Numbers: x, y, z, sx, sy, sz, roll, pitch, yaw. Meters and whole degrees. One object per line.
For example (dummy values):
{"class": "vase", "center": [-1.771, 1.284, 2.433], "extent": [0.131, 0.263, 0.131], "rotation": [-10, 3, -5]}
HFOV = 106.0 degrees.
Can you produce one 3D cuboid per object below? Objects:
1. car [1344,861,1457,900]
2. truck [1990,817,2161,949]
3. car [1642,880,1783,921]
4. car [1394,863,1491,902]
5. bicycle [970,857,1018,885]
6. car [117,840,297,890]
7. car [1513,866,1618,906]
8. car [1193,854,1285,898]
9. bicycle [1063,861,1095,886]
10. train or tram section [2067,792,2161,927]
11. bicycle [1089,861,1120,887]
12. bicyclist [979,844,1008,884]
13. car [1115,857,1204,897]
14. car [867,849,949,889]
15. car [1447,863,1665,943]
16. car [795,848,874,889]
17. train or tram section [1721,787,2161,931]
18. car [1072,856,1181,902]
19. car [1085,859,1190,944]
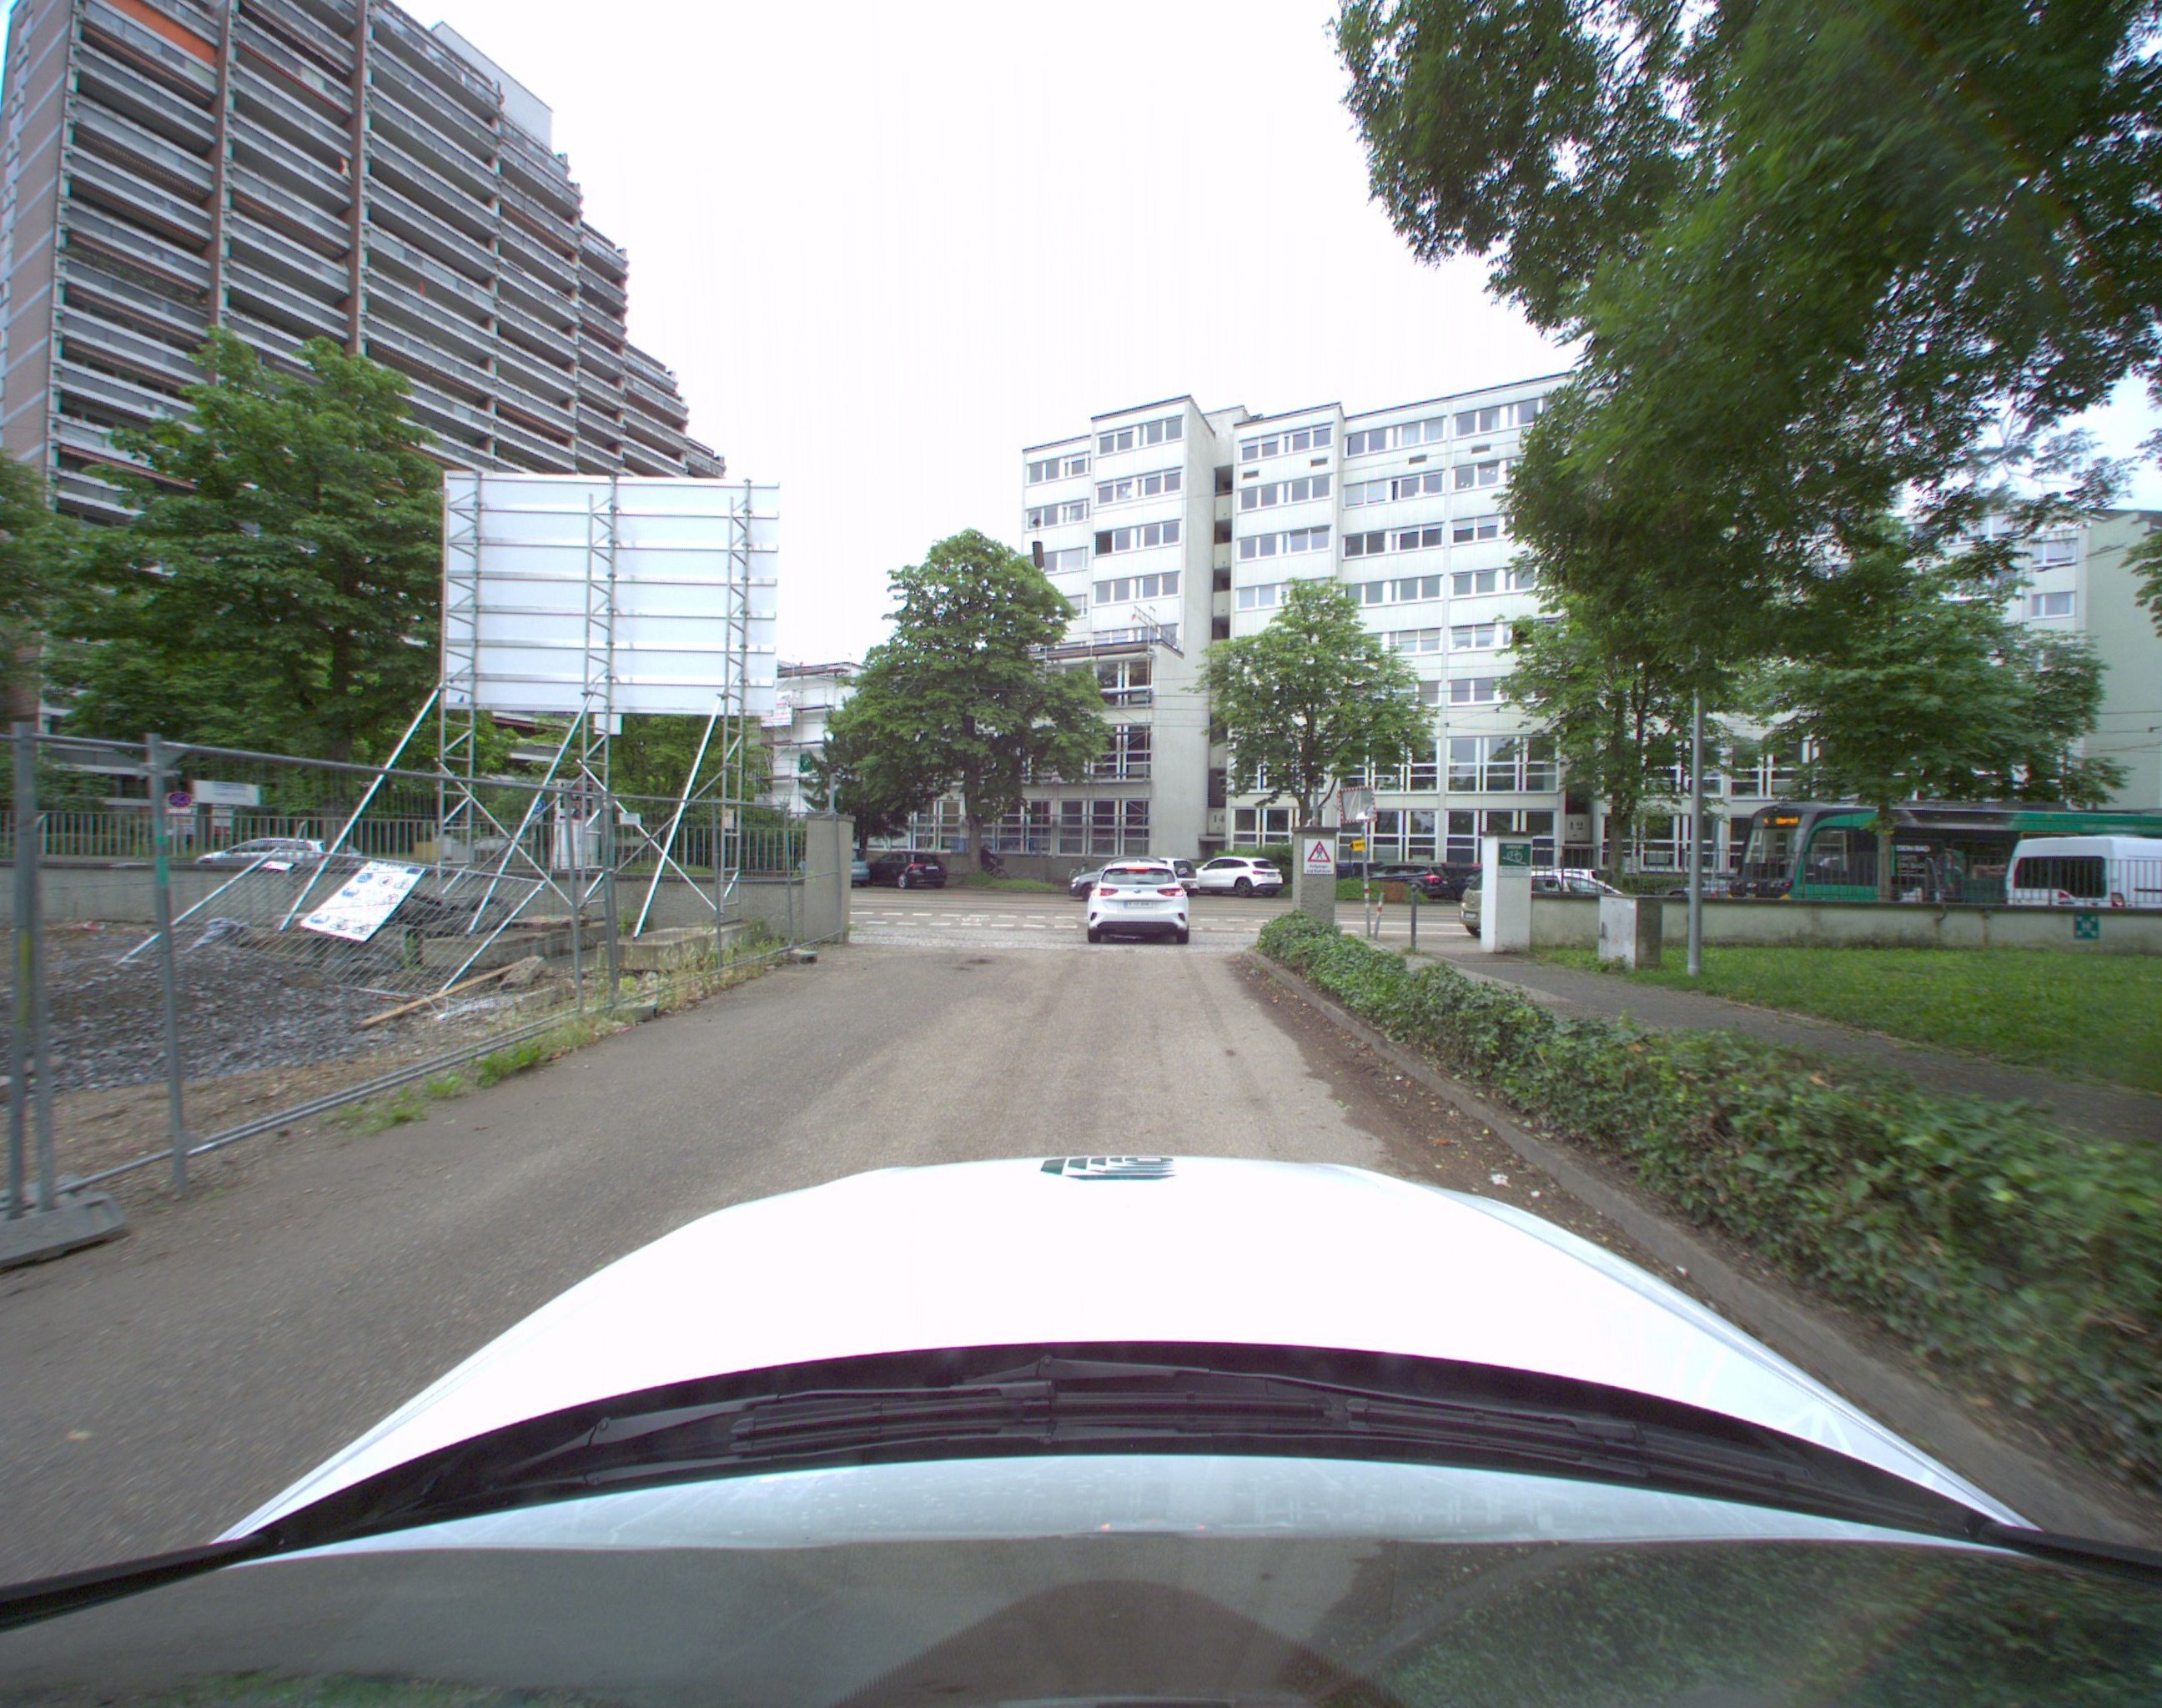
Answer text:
{"class": "car", "center": [12.786, 1.020, 32.715], "extent": [3.905, 1.474, 1.683], "rotation": [0, 0, 43]}
{"class": "truck", "center": [22.450, 0.588, 16.850], "extent": [4.895, 2.546, 2.169], "rotation": [1, 0, 0]}
{"class": "car", "center": [25.577, 1.850, 33.090], "extent": [4.441, 1.474, 1.425], "rotation": [0, -3, 43]}
{"class": "car", "center": [14.881, 1.139, 33.625], "extent": [1.425, 1.474, 3.349], "rotation": [1, 0, -43]}
{"class": "bicycle", "center": [-3.786, 0.727, 35.322], "extent": [1.891, 1.174, 0.826], "rotation": [1, 0, 27]}
{"class": "car", "center": [-28.443, 0.342, 26.588], "extent": [3.973, 1.519, 1.731], "rotation": [1, 0, 1]}
{"class": "car", "center": [19.357, 1.244, 32.610], "extent": [1.425, 1.474, 3.349], "rotation": [1, 0, -43]}
{"class": "car", "center": [6.251, 0.837, 32.499], "extent": [1.565, 1.618, 3.367], "rotation": [1, 0, -41]}
{"class": "bicycle", "center": [-0.080, 0.898, 38.717], "extent": [0.638, 1.074, 2.325], "rotation": [1, 2, 23]}
{"class": "train or tram section", "center": [34.979, 0.209, 22.481], "extent": [12.375, 3.614, 2.668], "rotation": [1, 0, 0]}
{"class": "bicycle", "center": [1.115, 0.916, 38.151], "extent": [0.638, 1.074, 2.325], "rotation": [1, 2, 23]}
{"class": "bicyclist", "center": [-3.810, 0.427, 35.375], "extent": [0.886, 1.698, 0.839], "rotation": [1, 0, 27]}
{"class": "car", "center": [3.076, 0.860, 32.270], "extent": [1.565, 1.473, 3.367], "rotation": [1, 0, -41]}
{"class": "car", "center": [-6.823, 0.556, 31.938], "extent": [1.628, 1.511, 3.296], "rotation": [1, 0, -44]}
{"class": "car", "center": [9.756, 0.974, 16.926], "extent": [3.569, 1.500, 1.666], "rotation": [1, 0, 1]}
{"class": "car", "center": [-9.711, 0.529, 31.951], "extent": [1.628, 1.537, 3.296], "rotation": [1, 0, -44]}
{"class": "train or tram section", "center": [24.823, 0.139, 22.413], "extent": [12.375, 3.614, 2.668], "rotation": [1, 0, 0]}
{"class": "car", "center": [1.424, 0.781, 26.233], "extent": [3.409, 1.420, 1.520], "rotation": [1, 0, -1]}
{"class": "car", "center": [1.161, 0.878, 15.749], "extent": [1.766, 1.433, 3.984], "rotation": [0, -2, 6]}
